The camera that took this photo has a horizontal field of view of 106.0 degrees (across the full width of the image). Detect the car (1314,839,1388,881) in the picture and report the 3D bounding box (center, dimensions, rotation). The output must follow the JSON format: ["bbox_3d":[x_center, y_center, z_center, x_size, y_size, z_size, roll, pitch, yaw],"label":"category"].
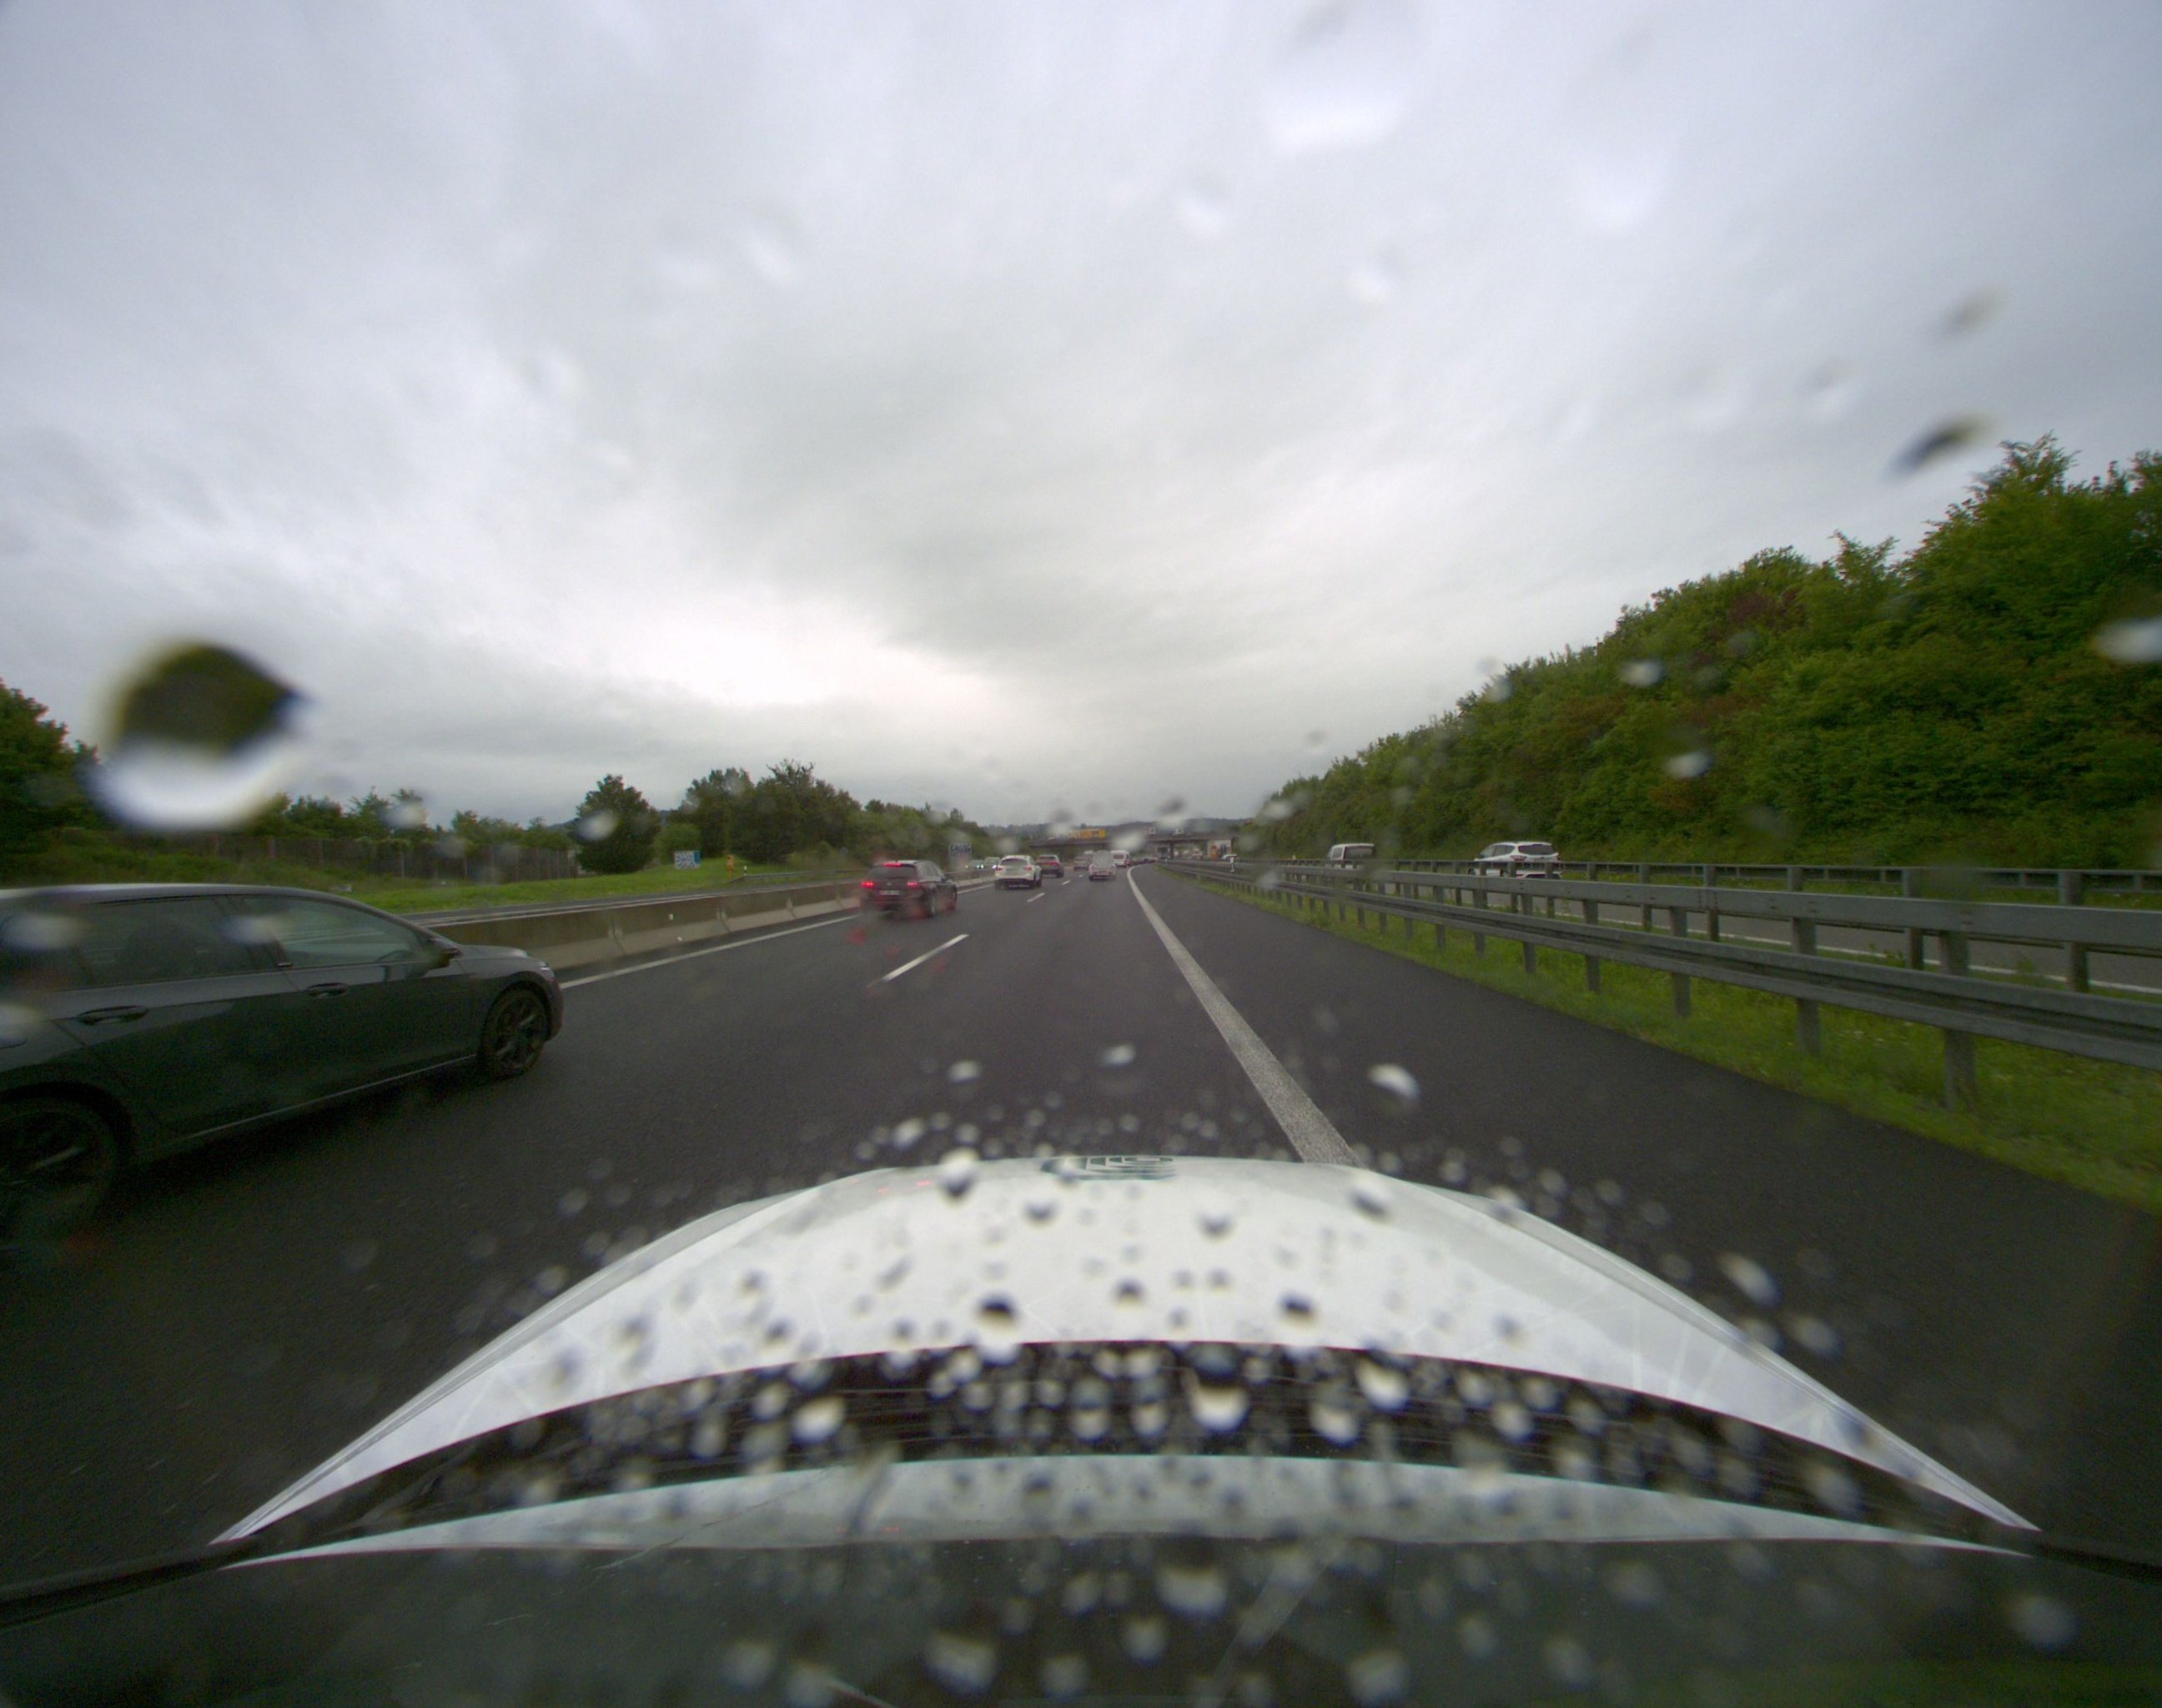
[{"bbox_3d":[12.639,0.267,38.426,2.001,1.815,4.275,-1,0,0],"label":"car"}]

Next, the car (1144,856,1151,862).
[{"bbox_3d":[19.698,1.494,239.758,1.985,1.750,4.004,0,0,4],"label":"car"}]

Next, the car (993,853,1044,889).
[{"bbox_3d":[-3.047,0.783,40.368,1.968,1.639,4.503,-1,0,2],"label":"car"}]

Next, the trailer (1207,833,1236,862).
[{"bbox_3d":[21.832,-0.954,127.183,3.421,4.289,10.468,-1,0,5],"label":"trailer"}]

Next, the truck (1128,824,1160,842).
[{"bbox_3d":[18.463,-6.206,240.413,3.795,4.836,9.933,-1,0,-36],"label":"truck"}]

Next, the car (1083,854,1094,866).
[{"bbox_3d":[1.199,0.959,132.051,1.836,1.819,4.000,-1,0,0],"label":"car"}]

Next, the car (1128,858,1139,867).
[{"bbox_3d":[10.844,1.791,168.216,1.988,1.750,3.998,0,0,-1],"label":"car"}]

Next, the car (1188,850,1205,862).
[{"bbox_3d":[17.405,0.275,122.614,1.853,1.805,4.648,-1,0,0],"label":"car"}]

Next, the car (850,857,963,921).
[{"bbox_3d":[-4.593,0.876,22.189,1.893,1.497,4.853,-1,-1,1],"label":"car"}]

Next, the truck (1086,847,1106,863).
[{"bbox_3d":[3.680,0.291,191.070,3.749,3.554,13.203,-1,0,5],"label":"truck"}]

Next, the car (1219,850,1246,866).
[{"bbox_3d":[15.333,0.380,82.830,2.000,1.548,4.698,-1,0,2],"label":"car"}]

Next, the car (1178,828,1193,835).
[{"bbox_3d":[28.872,-6.202,224.502,1.851,1.915,3.955,0,0,-37],"label":"car"}]

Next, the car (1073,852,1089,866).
[{"bbox_3d":[0.054,0.549,98.878,1.894,1.613,4.017,-1,0,0],"label":"car"}]

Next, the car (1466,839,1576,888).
[{"bbox_3d":[15.929,0.315,29.750,1.889,1.612,4.148,-1,0,2],"label":"car"}]

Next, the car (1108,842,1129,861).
[{"bbox_3d":[5.573,-0.393,121.371,3.004,2.616,6.080,-1,0,3],"label":"car"}]

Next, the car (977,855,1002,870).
[{"bbox_3d":[-9.820,0.859,87.827,1.975,1.506,4.640,-1,0,2],"label":"car"}]

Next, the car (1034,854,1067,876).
[{"bbox_3d":[-2.279,0.808,62.073,2.166,1.631,4.502,-1,0,2],"label":"car"}]

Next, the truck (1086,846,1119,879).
[{"bbox_3d":[1.442,0.518,54.041,2.011,1.985,7.216,-1,0,2],"label":"truck"}]

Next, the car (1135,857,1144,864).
[{"bbox_3d":[15.199,1.634,211.724,1.985,1.750,4.003,0,0,3],"label":"car"}]

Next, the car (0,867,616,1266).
[{"bbox_3d":[-4.922,0.844,4.579,1.893,1.405,4.461,-1,0,2],"label":"car"}]

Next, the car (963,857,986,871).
[{"bbox_3d":[-12.560,1.176,96.227,1.975,1.614,4.423,0,0,2],"label":"car"}]

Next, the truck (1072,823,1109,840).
[{"bbox_3d":[2.897,-7.317,263.327,3.795,4.836,15.077,-1,0,-36],"label":"truck"}]
